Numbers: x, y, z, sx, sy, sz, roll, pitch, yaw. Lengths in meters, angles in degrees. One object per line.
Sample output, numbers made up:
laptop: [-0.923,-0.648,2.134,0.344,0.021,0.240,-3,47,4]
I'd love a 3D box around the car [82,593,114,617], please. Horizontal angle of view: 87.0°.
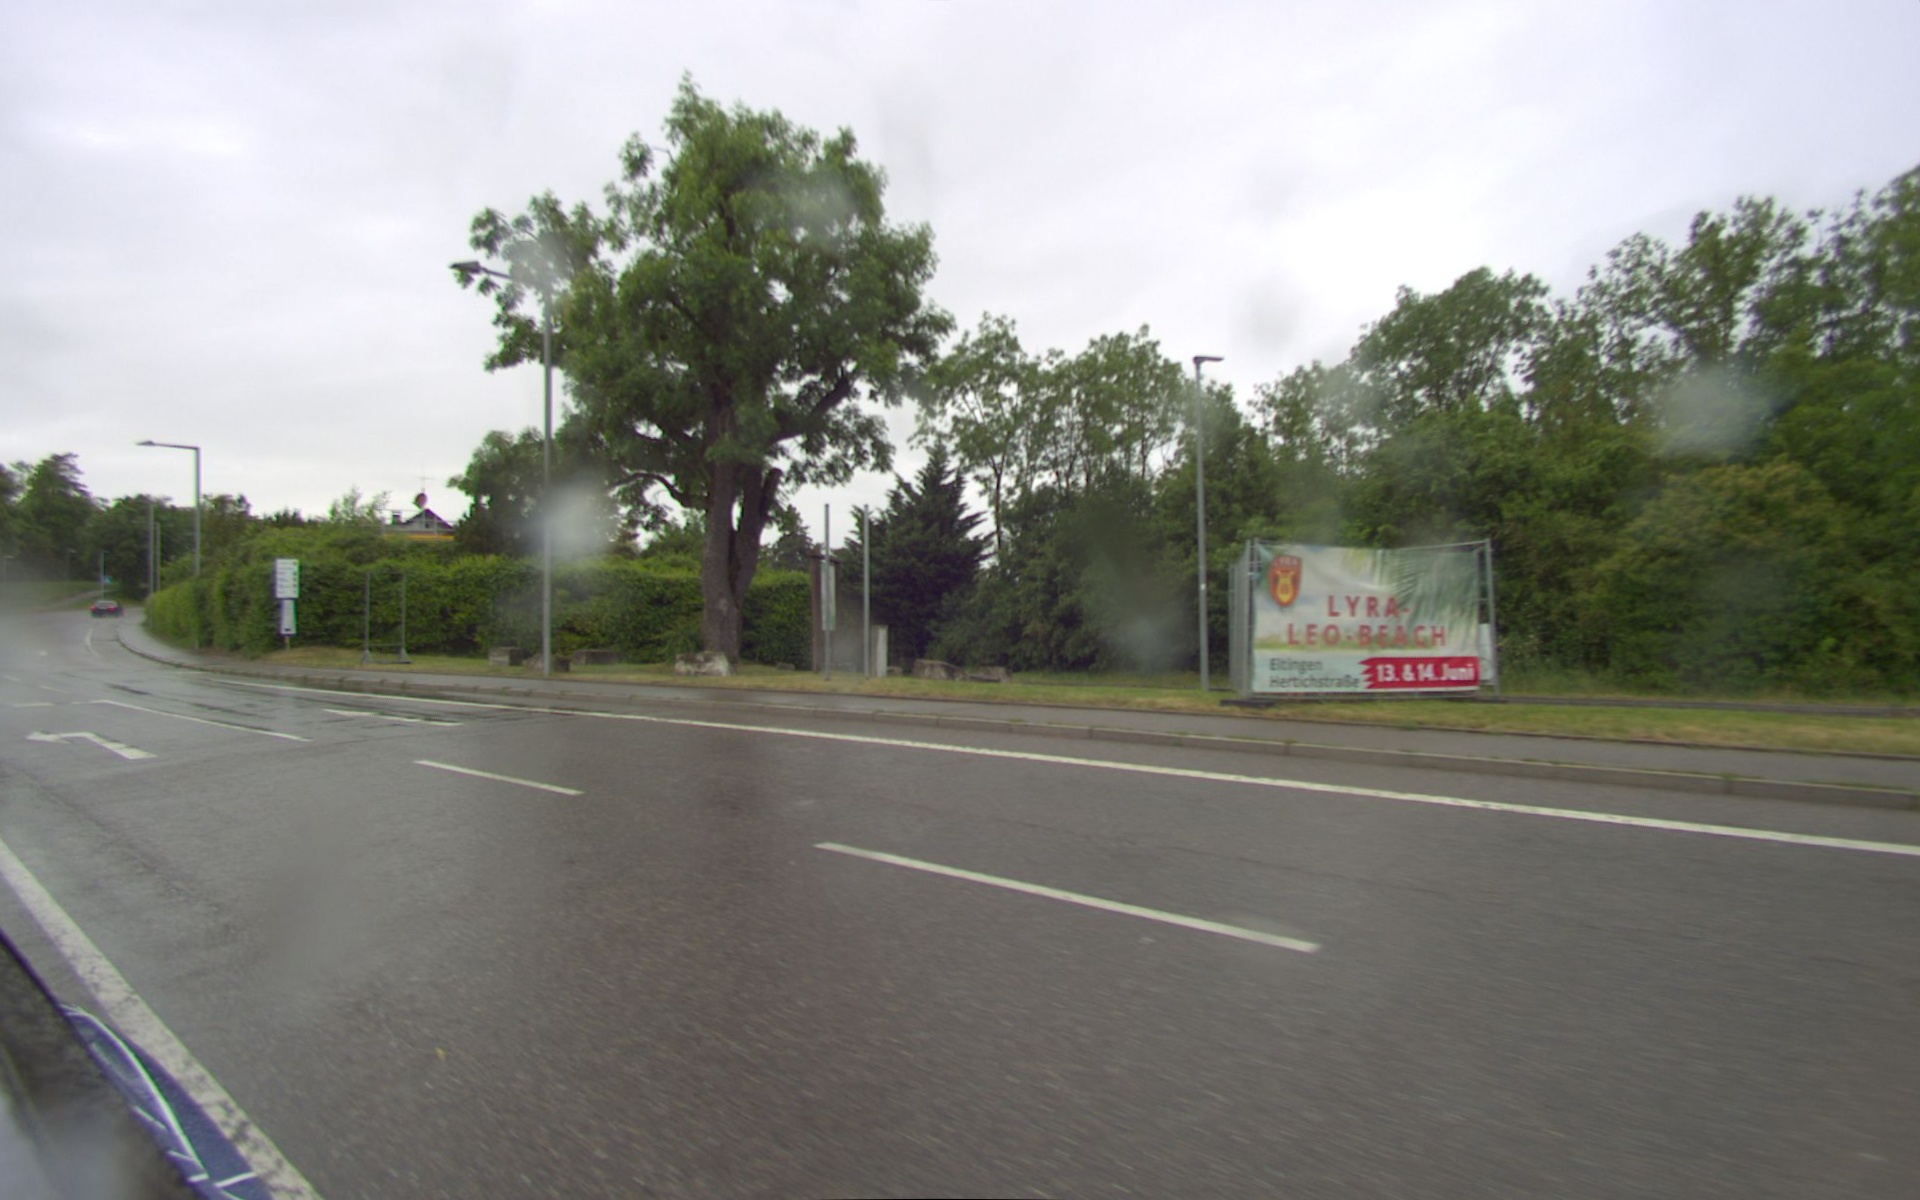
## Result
car: [-75.632,0.441,88.804,1.936,2.029,4.008,0,0,-38]
